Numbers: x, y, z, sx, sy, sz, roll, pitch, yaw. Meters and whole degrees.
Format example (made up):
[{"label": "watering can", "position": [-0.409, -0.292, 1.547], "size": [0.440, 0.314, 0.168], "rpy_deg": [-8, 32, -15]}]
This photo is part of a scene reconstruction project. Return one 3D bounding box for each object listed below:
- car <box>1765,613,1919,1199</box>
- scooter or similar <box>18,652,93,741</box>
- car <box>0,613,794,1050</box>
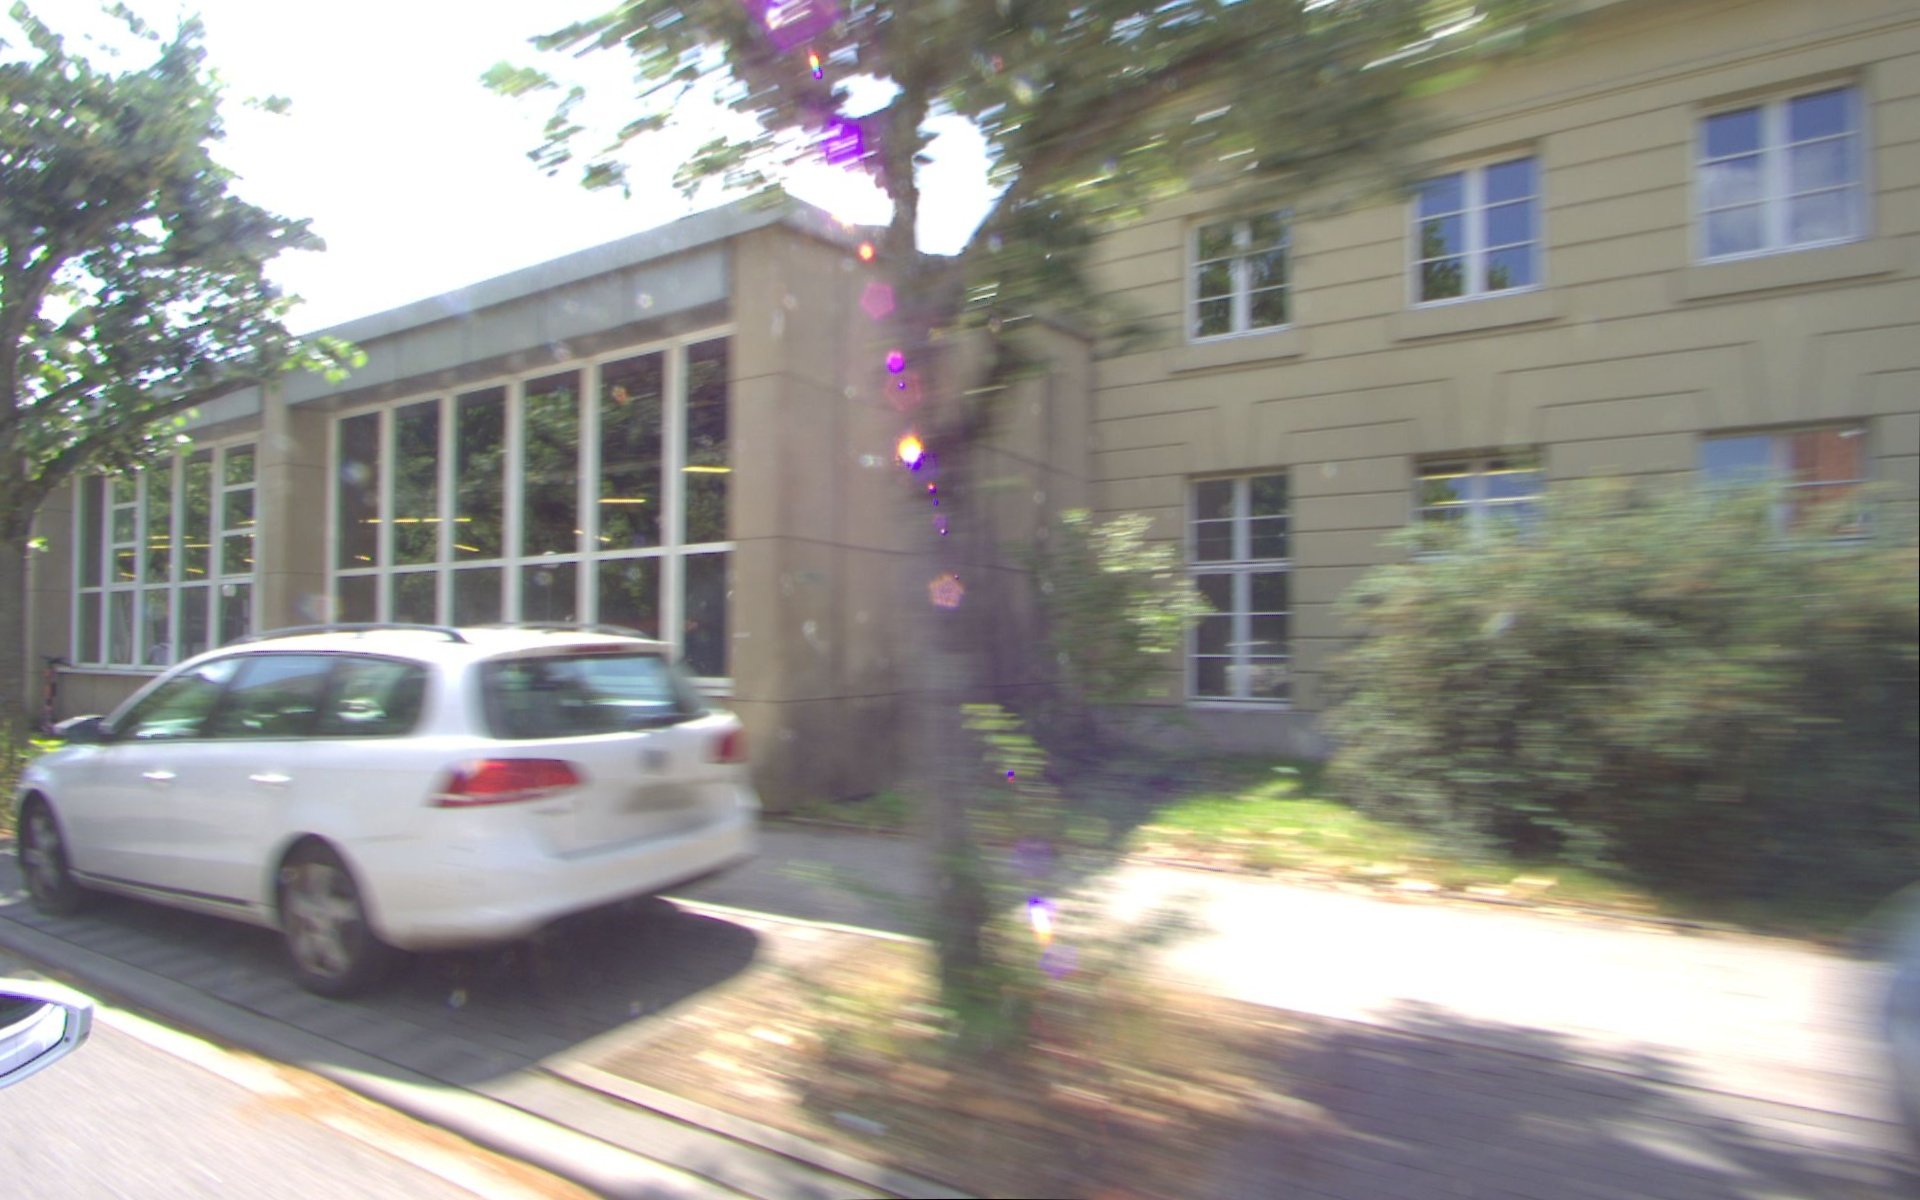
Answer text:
[{"label": "car", "position": [3.534, 0.726, 1.113], "size": [3.932, 1.408, 1.643], "rpy_deg": [-1, -2, 33]}, {"label": "scooter or similar", "position": [-13.286, 1.394, 14.700], "size": [1.471, 1.233, 0.415], "rpy_deg": [-1, -1, 31]}, {"label": "car", "position": [-3.229, 0.860, 5.311], "size": [4.601, 1.486, 1.724], "rpy_deg": [-1, -2, 30]}]
